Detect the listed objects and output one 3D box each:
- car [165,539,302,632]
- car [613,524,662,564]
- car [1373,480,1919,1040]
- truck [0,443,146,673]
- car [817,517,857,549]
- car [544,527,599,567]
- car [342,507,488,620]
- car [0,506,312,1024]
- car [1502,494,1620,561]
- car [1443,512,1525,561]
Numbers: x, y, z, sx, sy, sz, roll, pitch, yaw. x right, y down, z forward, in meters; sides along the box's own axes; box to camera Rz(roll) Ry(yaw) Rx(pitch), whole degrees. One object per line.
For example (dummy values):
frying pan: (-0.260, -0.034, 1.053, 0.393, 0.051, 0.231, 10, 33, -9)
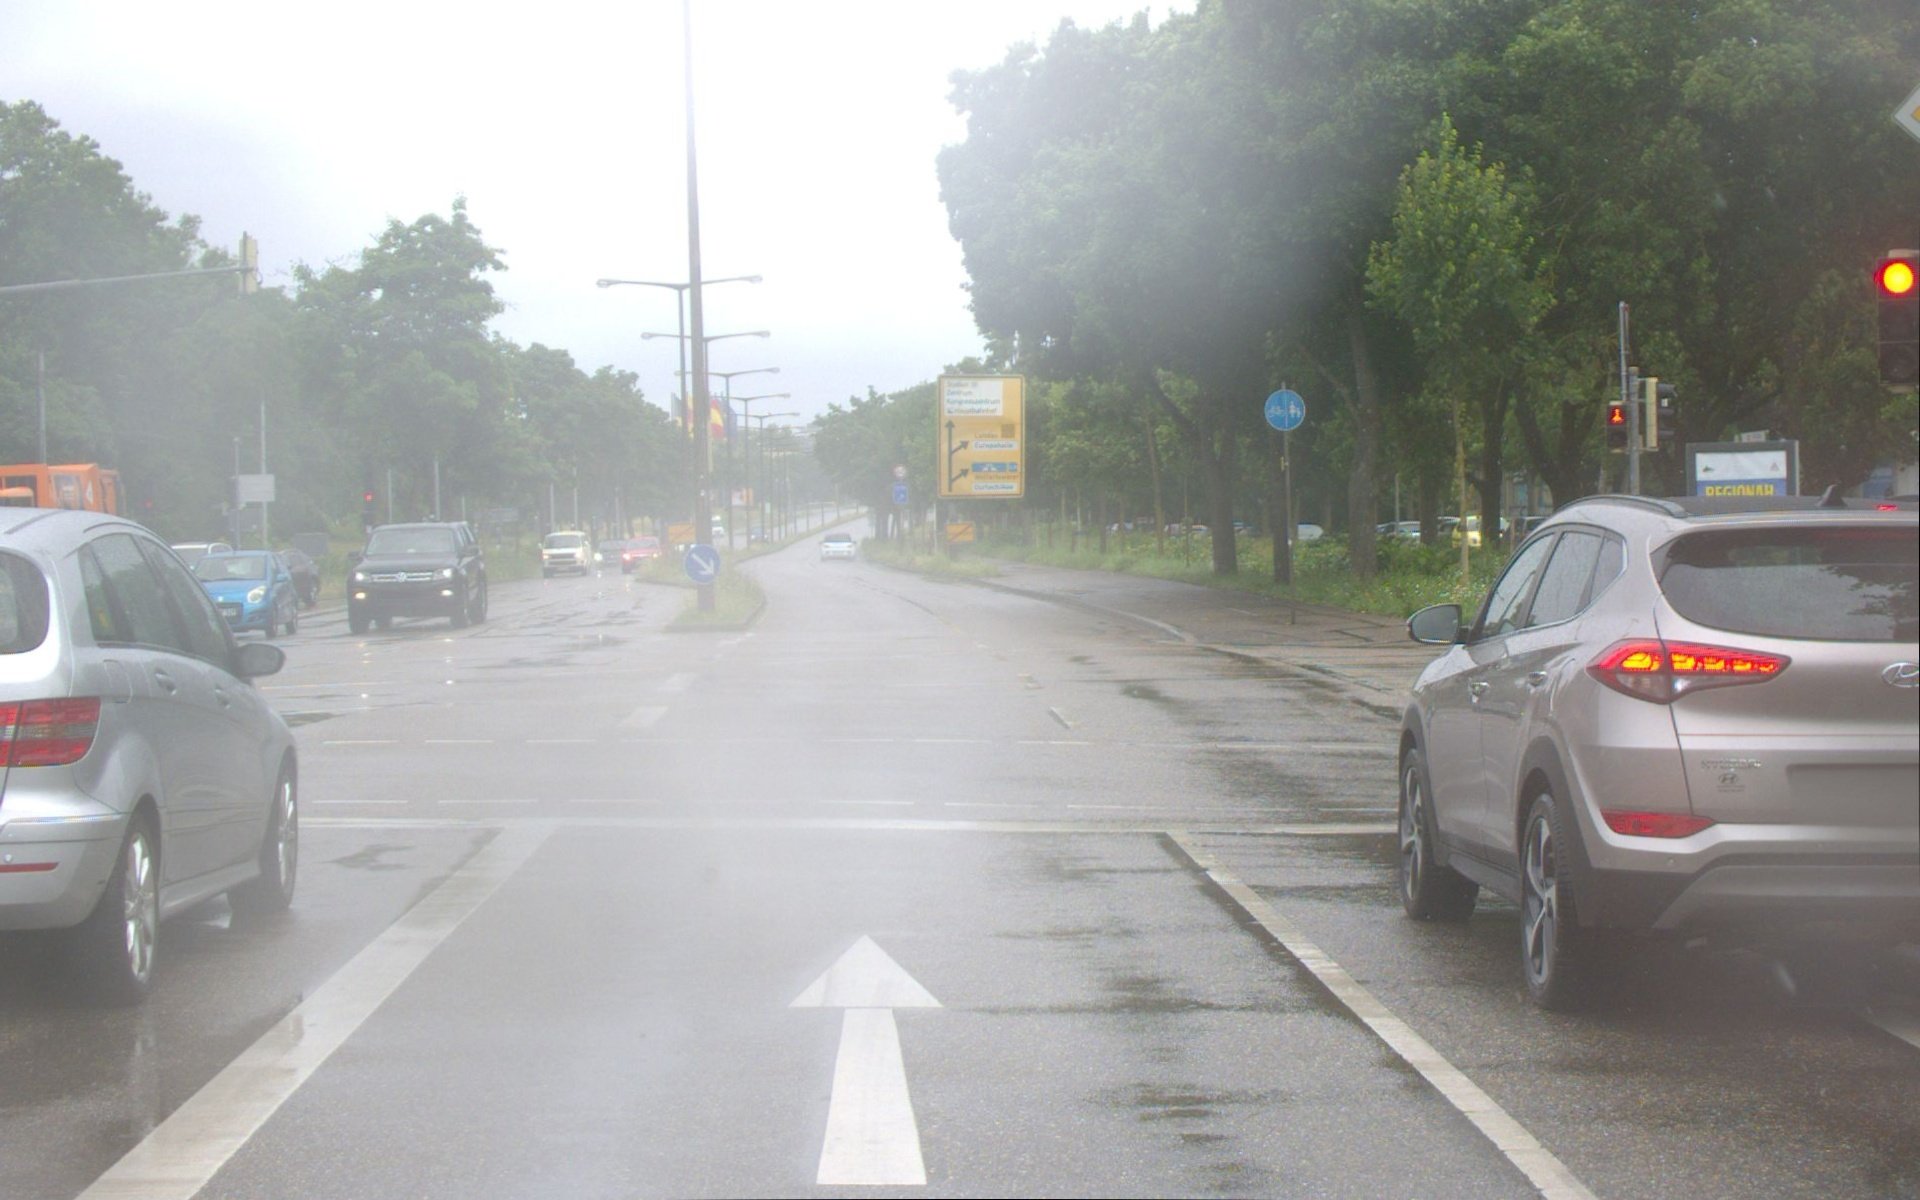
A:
car: (-12.180, -0.256, 57.820, 1.640, 1.422, 4.001, -3, 1, -4)
car: (-13.608, -2.369, 145.351, 1.801, 1.564, 4.429, -3, 1, -3)
car: (2.599, 0.438, 12.009, 1.884, 1.605, 4.195, 0, 1, 1)
truck: (-18.726, -0.842, 67.517, 3.384, 4.153, 10.408, 1, 1, -2)
car: (-6.066, -3.321, 169.716, 1.907, 1.509, 4.001, -1, 1, -1)
car: (-16.364, -2.239, 145.109, 1.894, 1.605, 4.501, -1, 1, -1)
car: (-9.279, -0.655, 58.862, 1.805, 1.767, 5.090, -2, 1, -2)
car: (-3.480, 0.460, 12.212, 1.736, 1.539, 4.014, -1, 1, -2)
car: (16.304, -1.962, 93.541, 1.993, 1.711, 4.880, -2, 1, -4)
car: (16.370, -1.964, 107.497, 1.637, 1.481, 4.074, 1, 1, -4)
